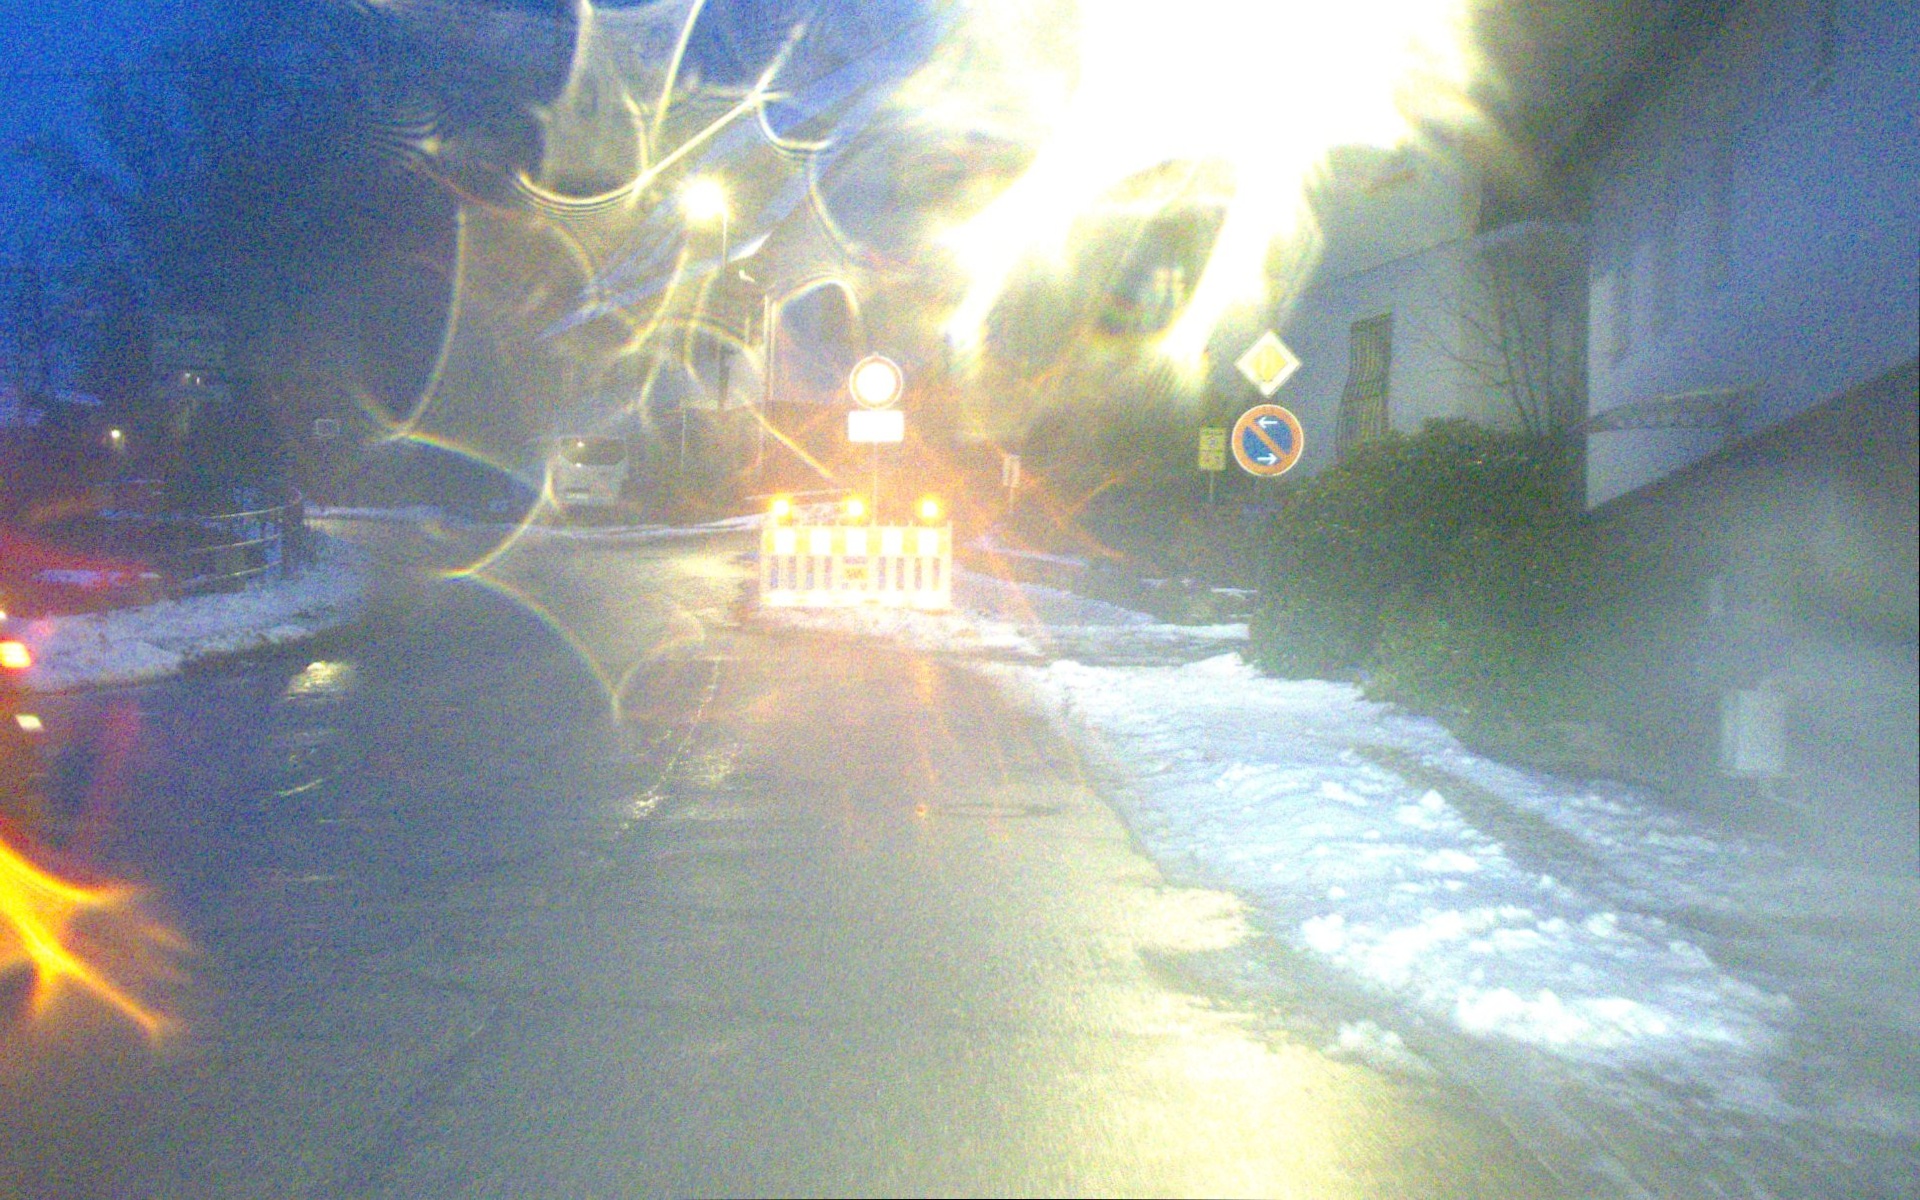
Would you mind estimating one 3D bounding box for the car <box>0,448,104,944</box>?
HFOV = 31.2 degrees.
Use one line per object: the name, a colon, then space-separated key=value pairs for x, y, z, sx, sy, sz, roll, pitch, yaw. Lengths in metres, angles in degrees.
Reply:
car: x=-5.121 y=0.344 z=13.210 sx=3.574 sy=1.790 sz=1.824 roll=0 pitch=0 yaw=41
